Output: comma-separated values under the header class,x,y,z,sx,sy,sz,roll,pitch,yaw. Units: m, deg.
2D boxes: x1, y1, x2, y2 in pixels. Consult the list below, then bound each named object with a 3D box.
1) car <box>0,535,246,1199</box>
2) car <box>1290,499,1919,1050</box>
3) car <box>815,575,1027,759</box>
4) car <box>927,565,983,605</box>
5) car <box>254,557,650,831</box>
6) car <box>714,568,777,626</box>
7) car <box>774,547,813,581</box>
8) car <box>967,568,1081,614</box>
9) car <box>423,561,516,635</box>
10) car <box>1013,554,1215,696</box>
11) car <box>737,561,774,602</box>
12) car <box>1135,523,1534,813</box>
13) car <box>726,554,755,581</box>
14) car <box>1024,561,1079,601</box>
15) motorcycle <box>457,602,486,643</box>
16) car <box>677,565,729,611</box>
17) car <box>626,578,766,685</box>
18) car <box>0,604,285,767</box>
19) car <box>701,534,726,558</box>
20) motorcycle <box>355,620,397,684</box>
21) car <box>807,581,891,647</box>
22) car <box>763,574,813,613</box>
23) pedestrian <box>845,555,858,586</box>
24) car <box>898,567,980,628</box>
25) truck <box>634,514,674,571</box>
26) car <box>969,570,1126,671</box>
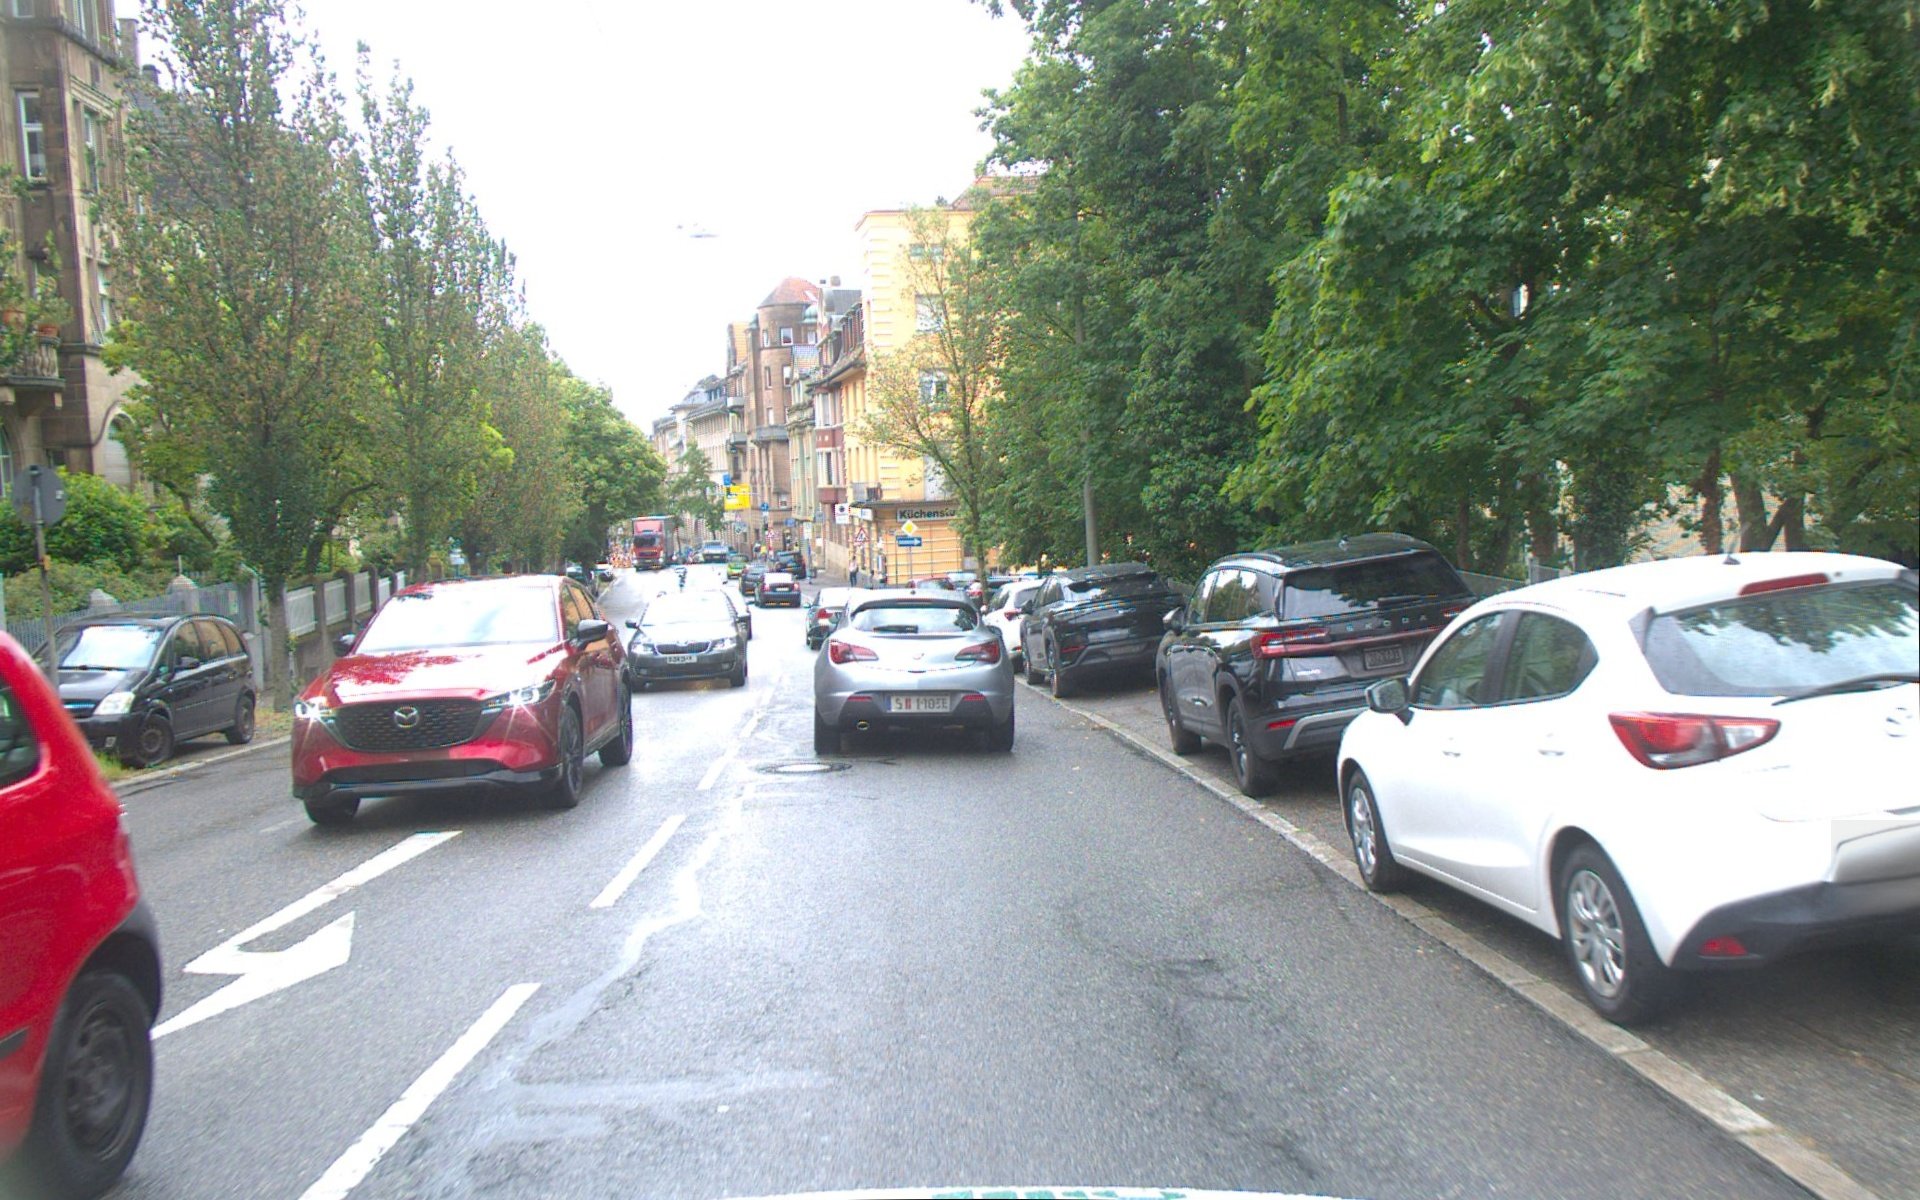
class,x,y,z,sx,sy,sz,roll,pitch,yaw
car,-2.893,0.687,2.736,1.621,1.595,4.000,-1,1,0
car,2.890,0.483,7.001,1.780,1.520,3.996,-7,0,-4
car,-0.376,0.542,16.090,1.778,1.454,4.000,-1,2,-1
car,-0.173,-0.617,65.146,1.738,1.454,3.789,0,2,7
car,-3.633,0.567,12.678,1.809,1.611,4.276,-4,1,-3
car,-5.981,-0.077,46.153,1.630,1.473,3.987,-3,0,-7
car,-9.932,-2.138,98.430,1.958,1.717,3.992,-7,2,-8
car,2.231,-0.293,58.146,3.705,1.455,1.777,2,-1,-11
car,-12.766,-0.061,43.288,1.756,1.679,4.185,-6,1,-10
car,2.018,0.322,23.042,1.938,1.637,4.480,-4,0,-5
car,-10.067,-0.950,81.185,1.610,1.718,3.710,-2,5,-10
car,2.641,0.398,12.906,1.785,1.712,4.802,-4,1,-2
car,-13.621,-1.991,102.561,1.610,1.563,3.708,-2,1,-9
car,3.721,-0.802,66.847,1.738,1.454,3.790,0,3,10
motorcycle,-15.740,0.712,53.335,0.549,1.259,1.642,-3,0,-6
car,-10.329,-0.497,66.742,1.788,1.679,3.995,-3,1,-6
car,-4.133,0.440,26.449,1.703,1.499,4.279,-3,1,-3
car,-9.365,0.875,18.851,1.778,1.640,3.999,-1,0,-1
car,-20.703,-4.502,138.802,1.751,1.887,3.987,-1,0,-13
motorcycle,-11.215,0.985,31.815,0.642,1.141,2.145,0,0,-16
car,-2.643,0.320,38.742,1.742,1.455,3.779,0,0,-7
car,-6.833,-0.283,65.558,1.735,1.439,3.708,0,1,-10
pedestrian,-5.380,-1.467,81.901,0.601,1.522,0.552,-2,3,-7
car,-0.650,-0.075,47.930,1.782,1.492,3.993,-6,1,-8
truck,-23.864,-4.557,128.569,2.740,4.203,10.824,-2,3,-11
car,1.441,0.343,28.910,1.939,1.477,4.107,-4,0,-7
